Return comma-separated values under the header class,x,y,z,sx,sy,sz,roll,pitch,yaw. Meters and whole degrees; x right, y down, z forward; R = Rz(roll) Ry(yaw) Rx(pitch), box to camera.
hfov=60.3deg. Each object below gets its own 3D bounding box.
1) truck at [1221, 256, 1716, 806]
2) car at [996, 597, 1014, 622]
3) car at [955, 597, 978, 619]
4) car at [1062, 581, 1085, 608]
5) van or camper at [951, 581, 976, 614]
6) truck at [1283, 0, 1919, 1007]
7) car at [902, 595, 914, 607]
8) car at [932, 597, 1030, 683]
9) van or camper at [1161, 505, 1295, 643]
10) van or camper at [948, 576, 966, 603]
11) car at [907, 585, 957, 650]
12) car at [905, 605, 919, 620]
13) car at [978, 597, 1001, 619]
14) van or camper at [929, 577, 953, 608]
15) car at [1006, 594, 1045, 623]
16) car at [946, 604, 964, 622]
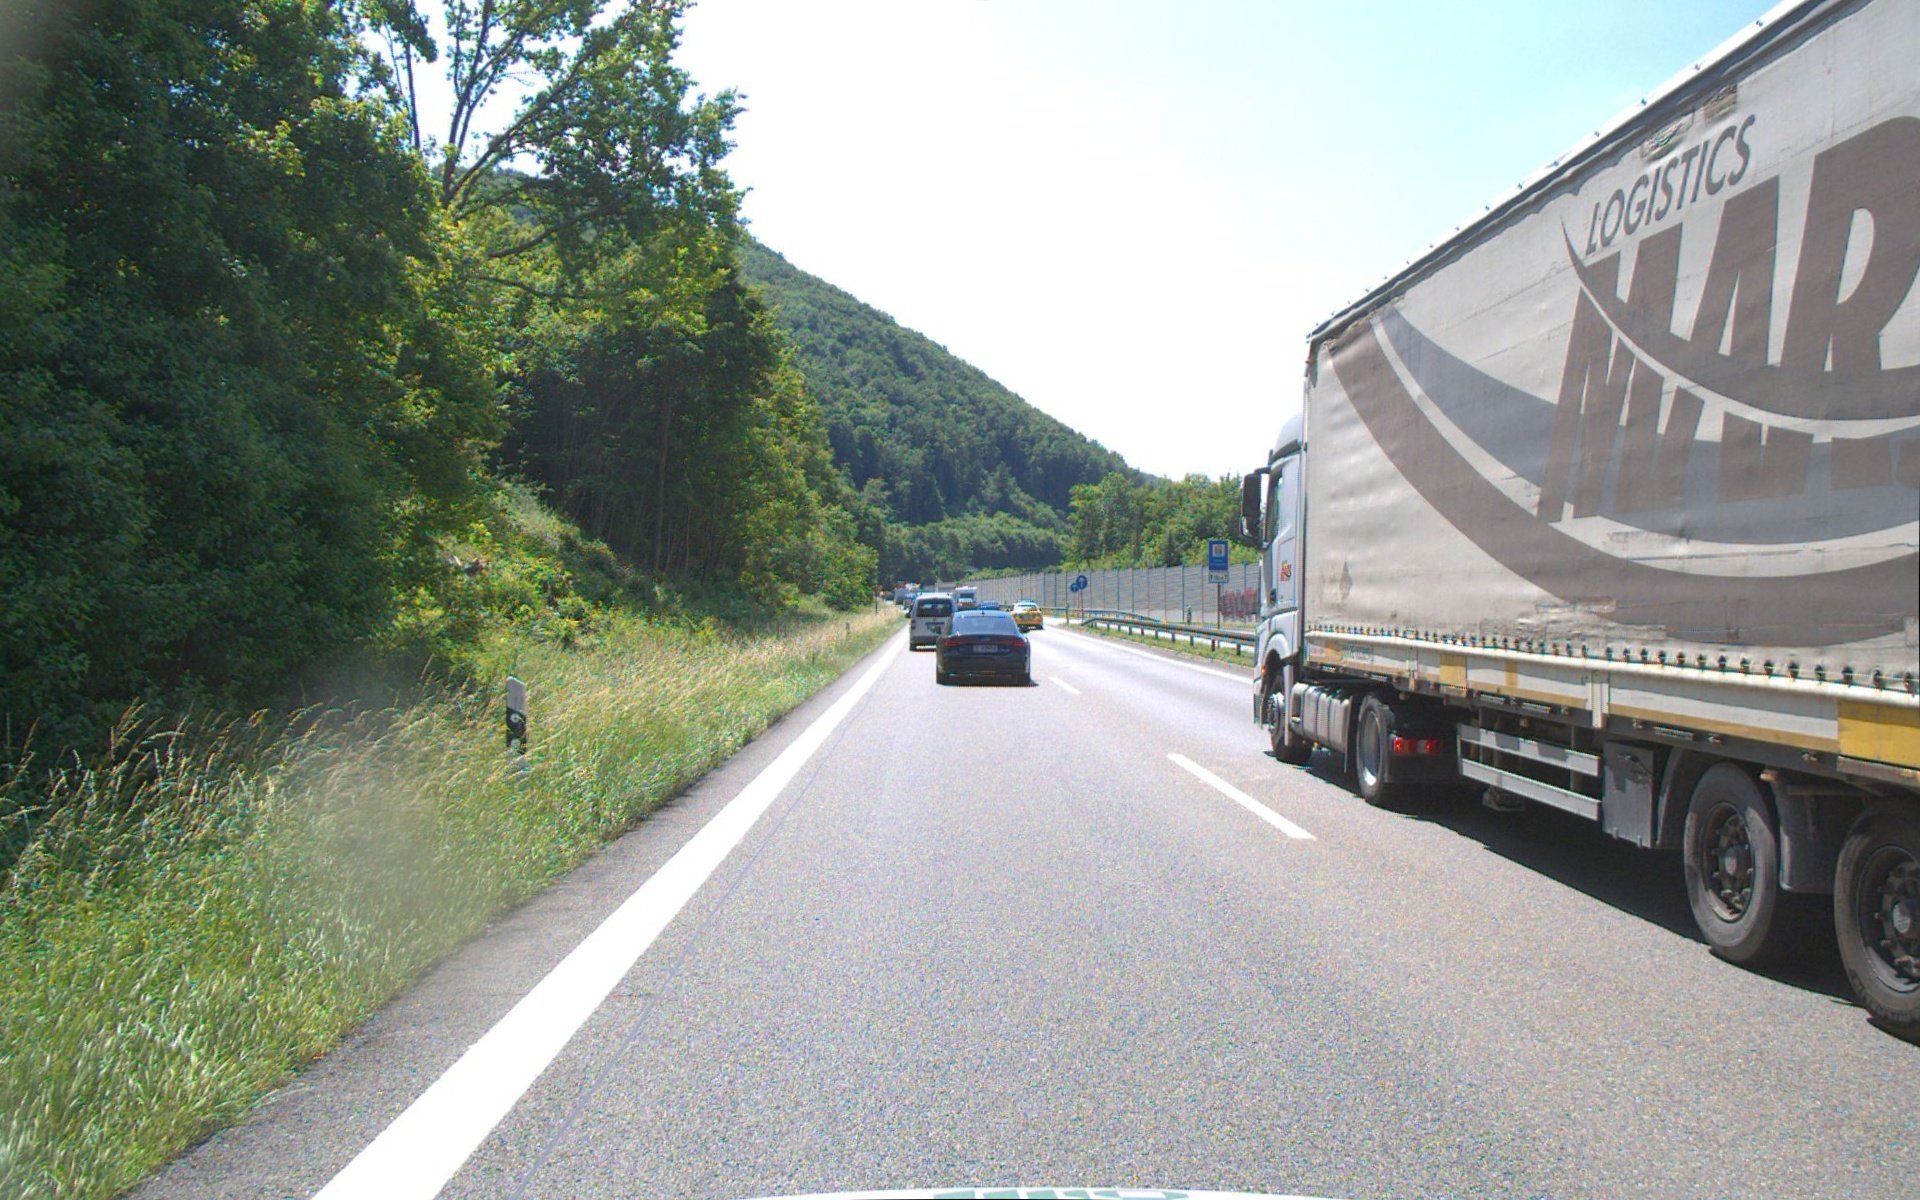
class,x,y,z,sx,sy,sz,roll,pitch,yaw
truck,4.411,-0.493,15.691,2.664,4.139,5.752,2,-1,-2
car,4.614,0.986,169.553,1.499,2.444,3.596,3,-1,-1
car,0.656,0.792,160.383,2.044,2.049,3.999,3,-1,-1
car,9.018,-0.441,131.361,1.544,2.049,3.427,1,0,-1
van or camper,0.397,-0.268,174.752,2.380,3.210,5.202,3,-1,-1
truck,4.612,-0.580,8.584,2.671,4.139,13.735,2,-1,-2
car,-6.916,0.124,219.418,1.459,1.522,3.589,3,-1,-1
car,0.372,0.754,33.046,1.775,1.541,3.513,2,1,-2
van or camper,8.287,-0.733,51.832,2.739,3.908,6.163,3,-1,-3
van or camper,-0.418,-1.521,244.724,2.399,3.753,6.586,3,-1,-1
car,-0.962,0.577,55.671,1.490,2.002,3.513,4,-1,-1
car,-5.672,1.469,195.325,1.459,1.694,3.589,3,-1,-1
car,2.207,0.625,123.924,1.499,1.551,3.596,3,-1,-1
van or camper,-2.569,-0.970,221.461,2.739,3.975,6.163,3,-1,-3
car,3.571,0.466,90.708,1.841,1.525,3.999,2,0,-1
car,-0.425,1.180,149.113,1.499,1.551,3.596,3,-1,-1
